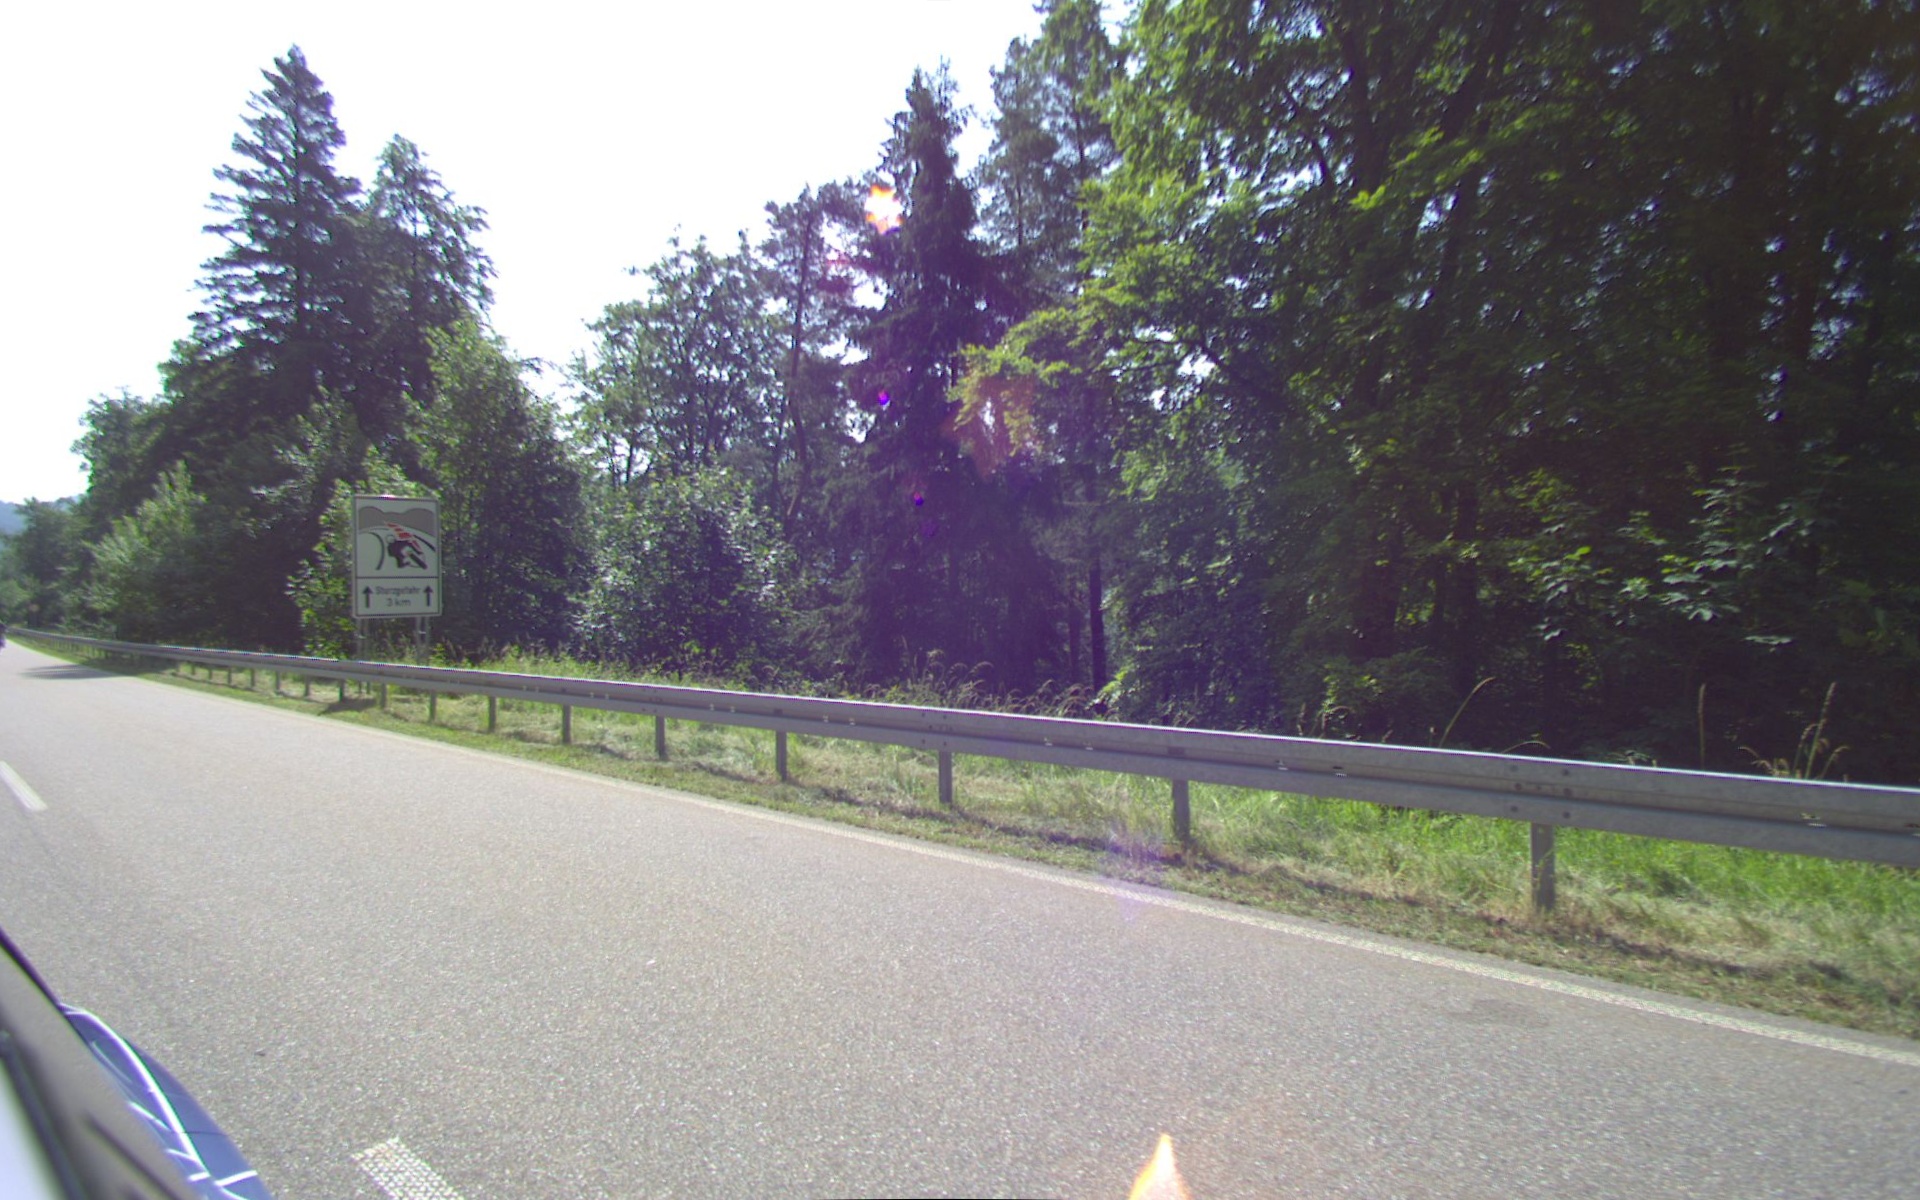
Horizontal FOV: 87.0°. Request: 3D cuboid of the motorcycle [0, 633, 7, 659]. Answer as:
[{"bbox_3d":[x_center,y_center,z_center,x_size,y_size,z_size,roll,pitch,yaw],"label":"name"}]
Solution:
[{"bbox_3d":[-40.740,1.941,42.523,1.964,1.079,0.973,-2,-1,45],"label":"motorcycle"}]
